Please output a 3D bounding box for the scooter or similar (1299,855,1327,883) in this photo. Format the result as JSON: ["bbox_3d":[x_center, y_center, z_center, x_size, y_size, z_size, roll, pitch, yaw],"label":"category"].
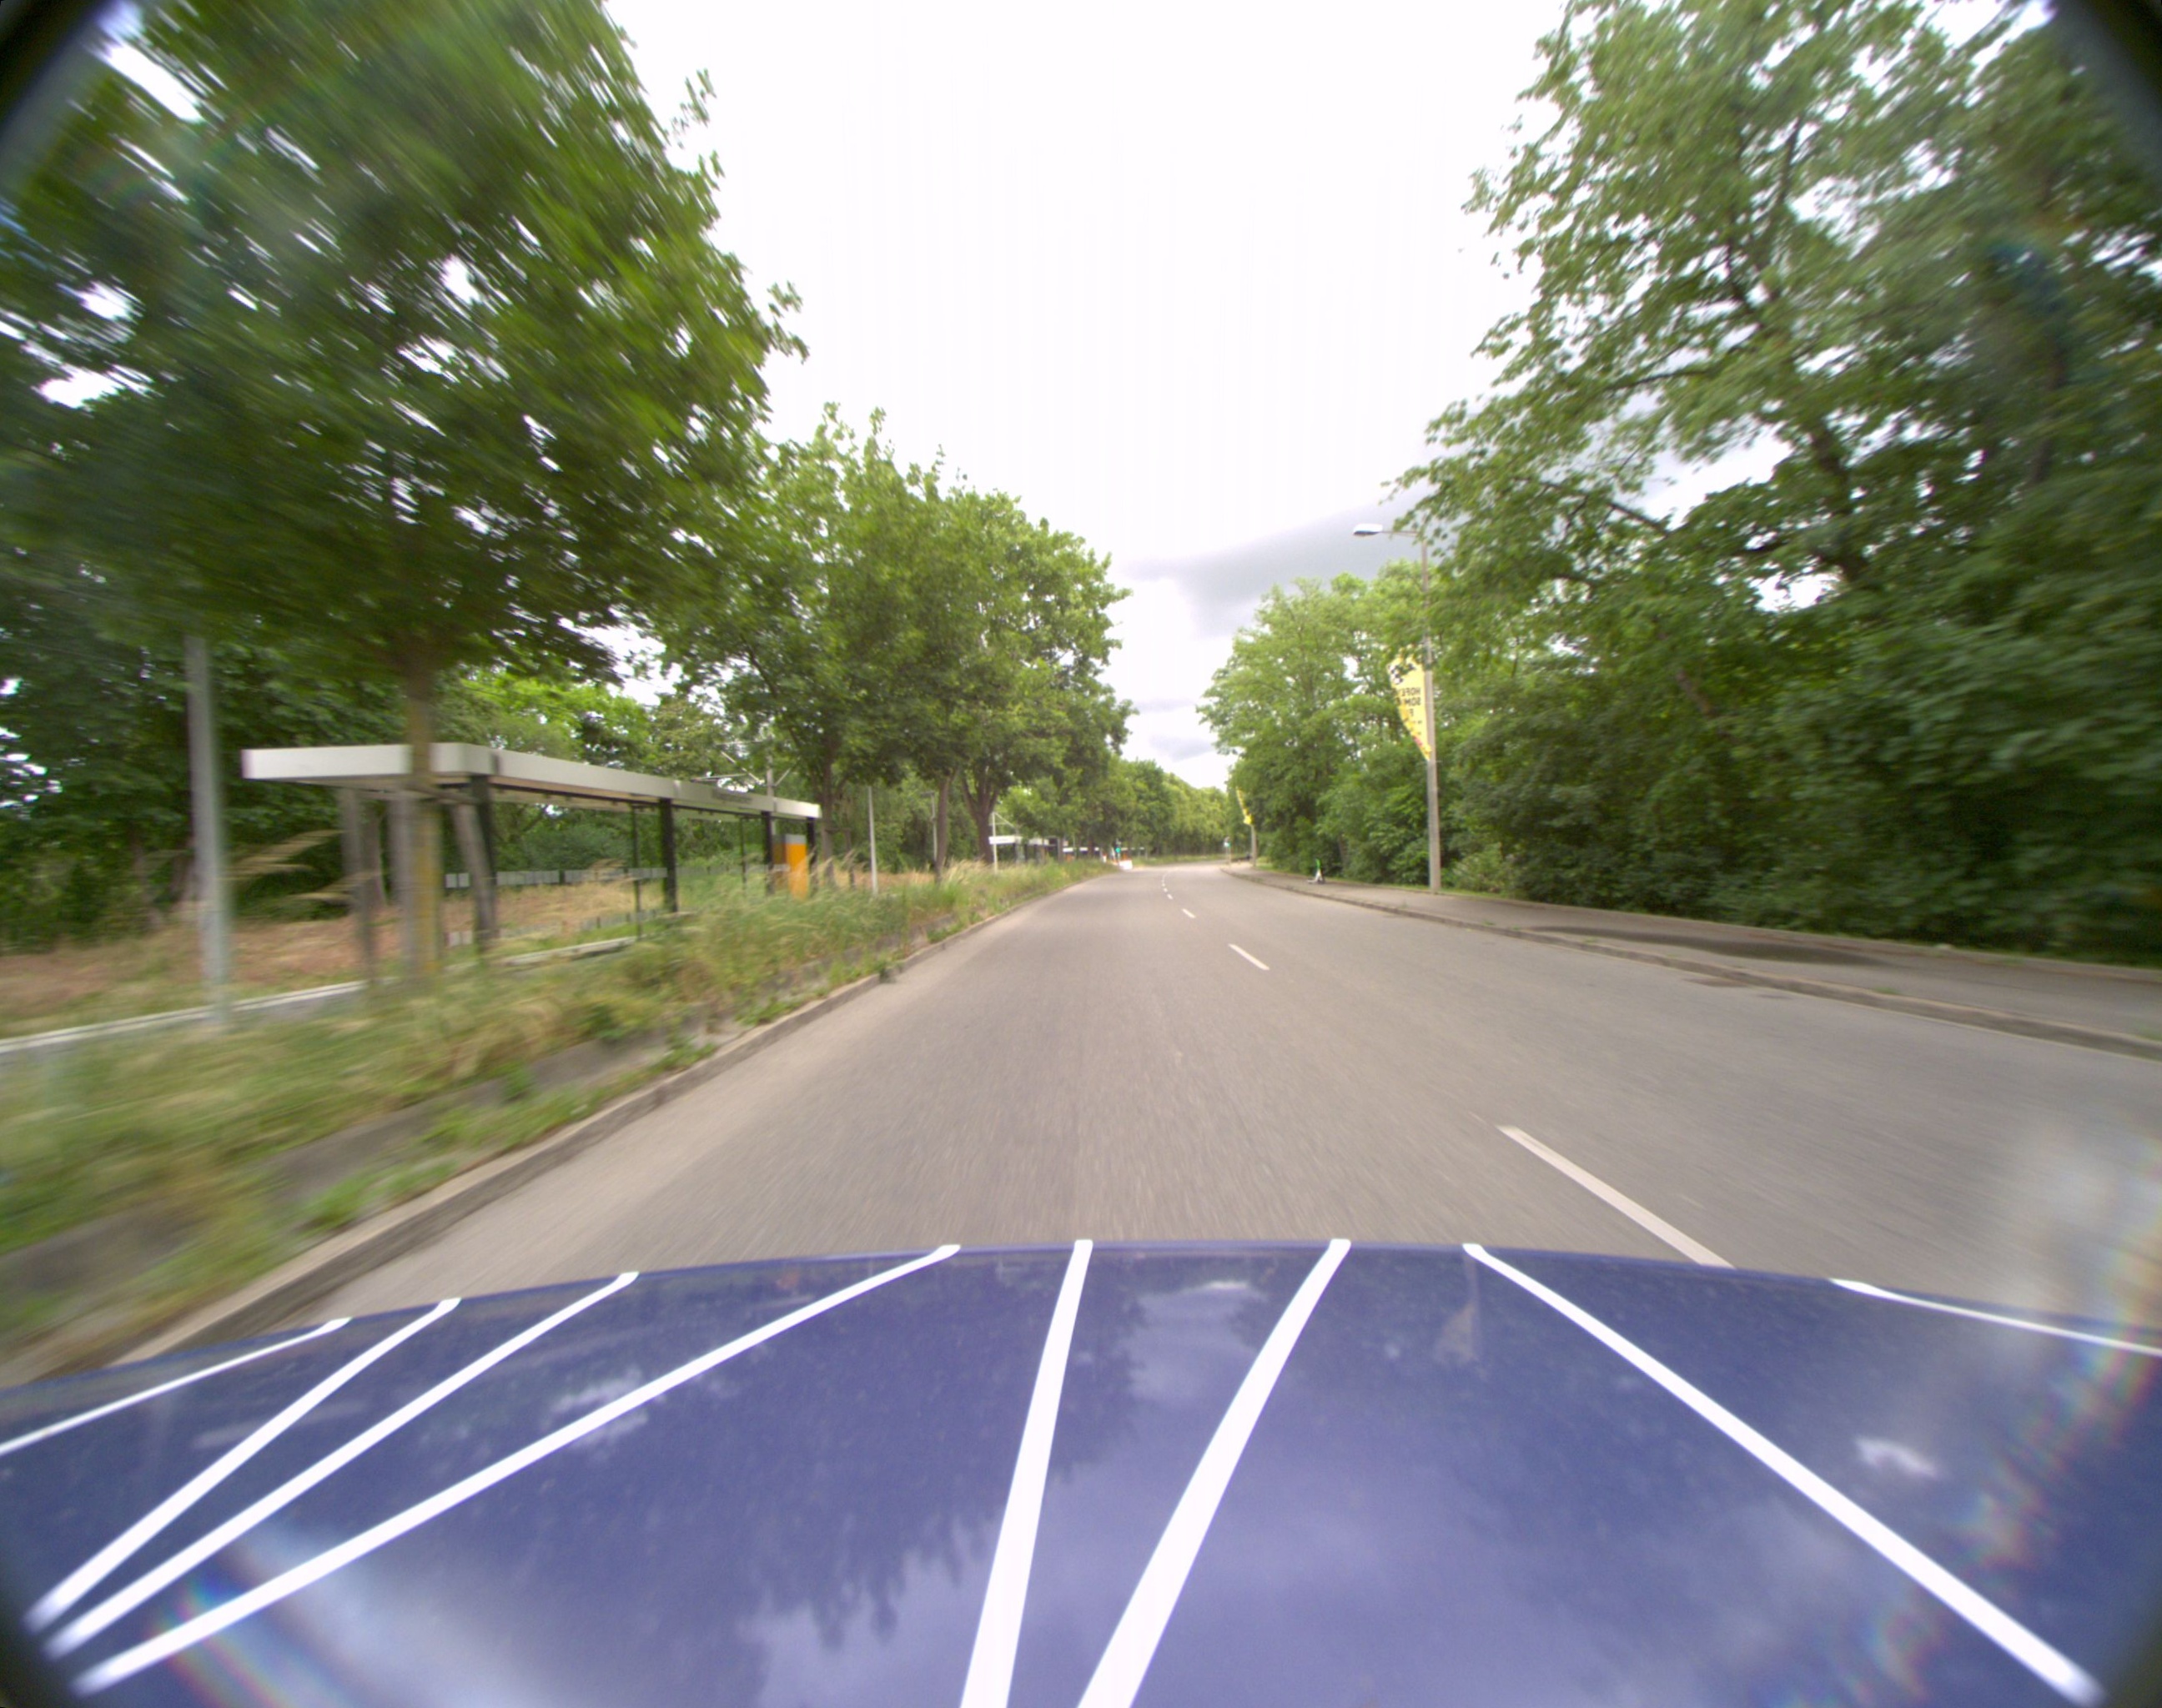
[{"bbox_3d":[9.979,0.647,32.671,0.366,1.177,1.295,-4,0,-22],"label":"scooter or similar"}]
